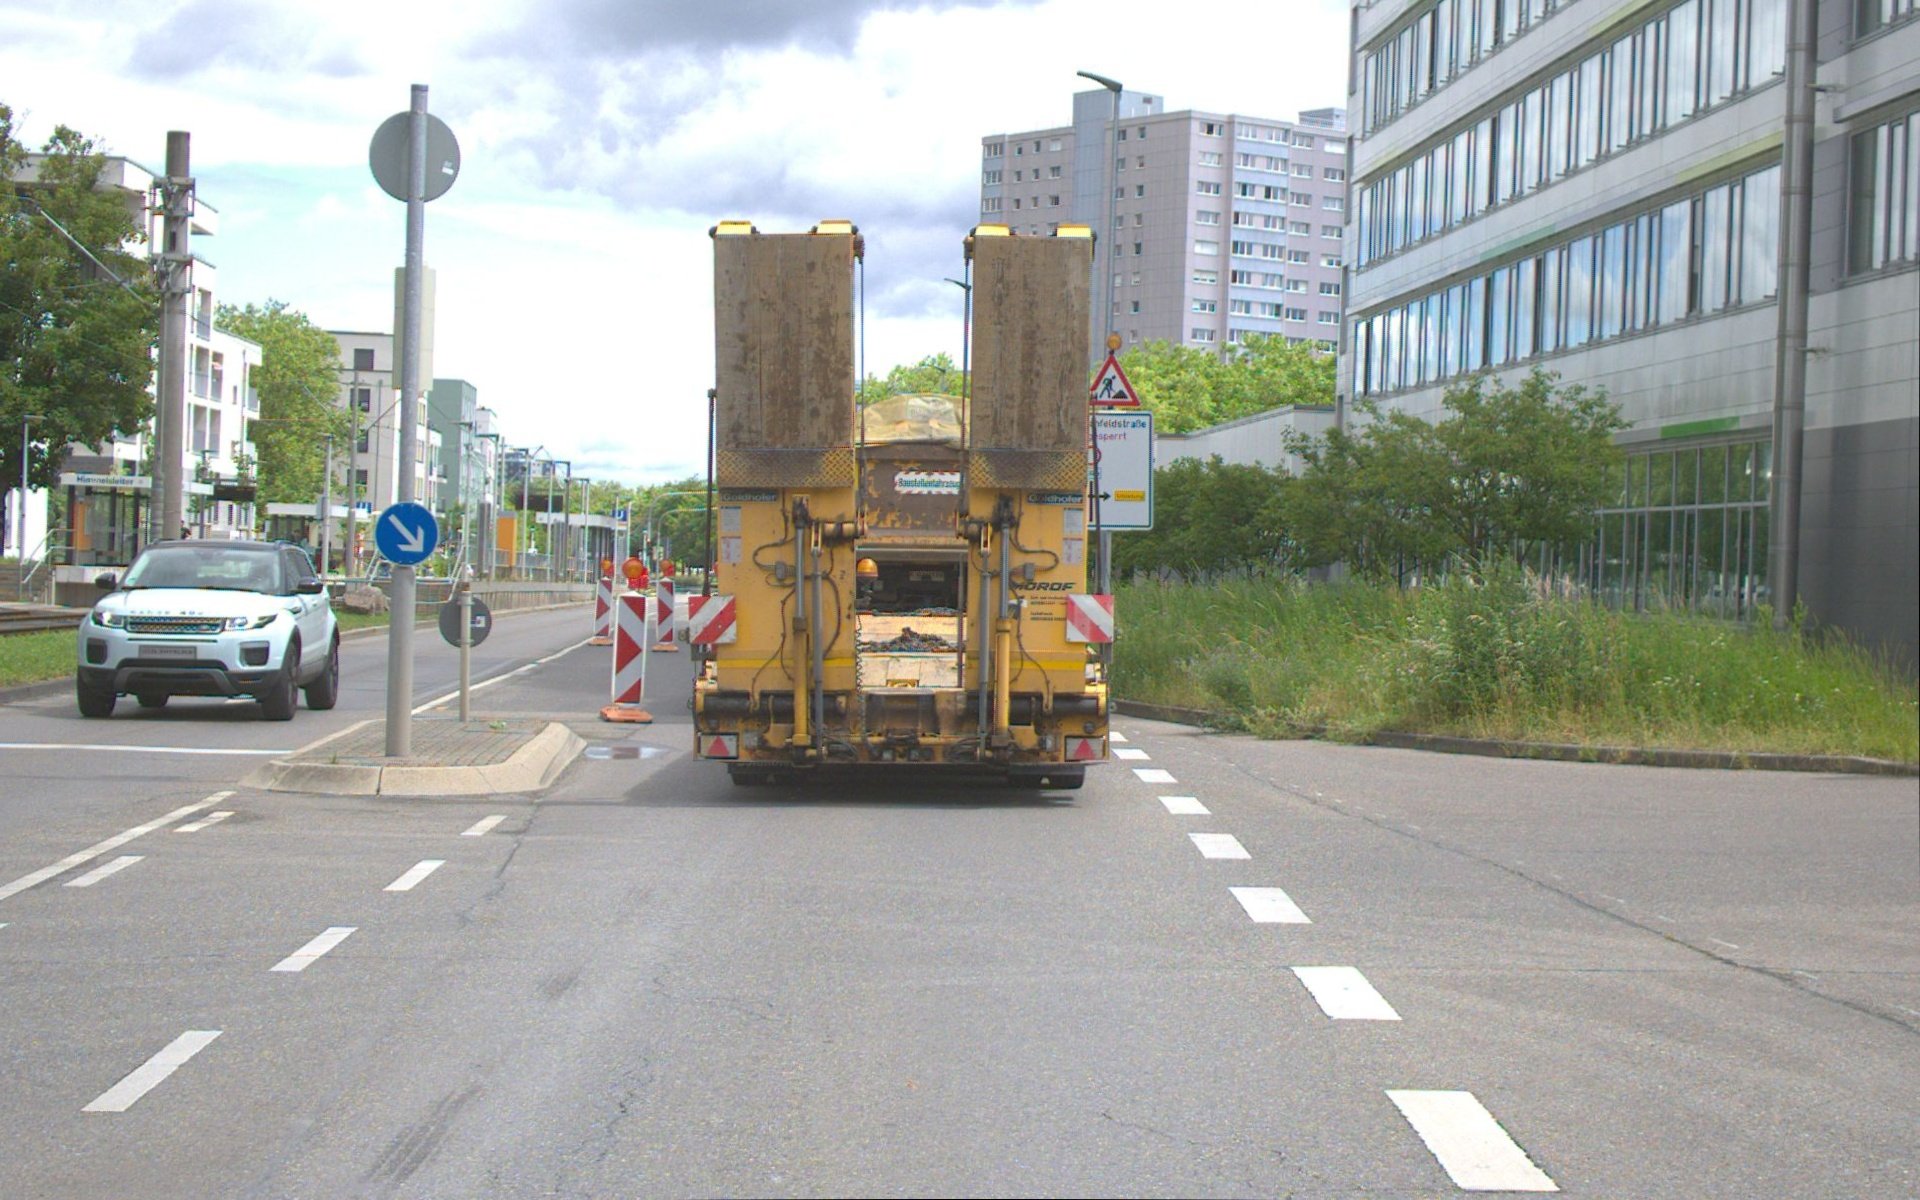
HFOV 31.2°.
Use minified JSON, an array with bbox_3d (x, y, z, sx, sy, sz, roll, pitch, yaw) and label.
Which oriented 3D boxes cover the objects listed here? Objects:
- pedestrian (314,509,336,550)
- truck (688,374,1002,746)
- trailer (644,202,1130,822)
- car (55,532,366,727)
[{"bbox_3d":[-25.184,-2.778,136.397,0.488,1.591,0.676,2,0,32],"label":"pedestrian"},{"bbox_3d":[-1.241,-0.386,35.709,2.753,3.302,8.352,2,0,-3],"label":"truck"},{"bbox_3d":[-0.716,-0.539,25.886,2.729,3.547,11.255,2,0,-3],"label":"trailer"},{"bbox_3d":[-6.877,0.247,32.008,1.860,1.605,4.608,2,0,0],"label":"car"}]
